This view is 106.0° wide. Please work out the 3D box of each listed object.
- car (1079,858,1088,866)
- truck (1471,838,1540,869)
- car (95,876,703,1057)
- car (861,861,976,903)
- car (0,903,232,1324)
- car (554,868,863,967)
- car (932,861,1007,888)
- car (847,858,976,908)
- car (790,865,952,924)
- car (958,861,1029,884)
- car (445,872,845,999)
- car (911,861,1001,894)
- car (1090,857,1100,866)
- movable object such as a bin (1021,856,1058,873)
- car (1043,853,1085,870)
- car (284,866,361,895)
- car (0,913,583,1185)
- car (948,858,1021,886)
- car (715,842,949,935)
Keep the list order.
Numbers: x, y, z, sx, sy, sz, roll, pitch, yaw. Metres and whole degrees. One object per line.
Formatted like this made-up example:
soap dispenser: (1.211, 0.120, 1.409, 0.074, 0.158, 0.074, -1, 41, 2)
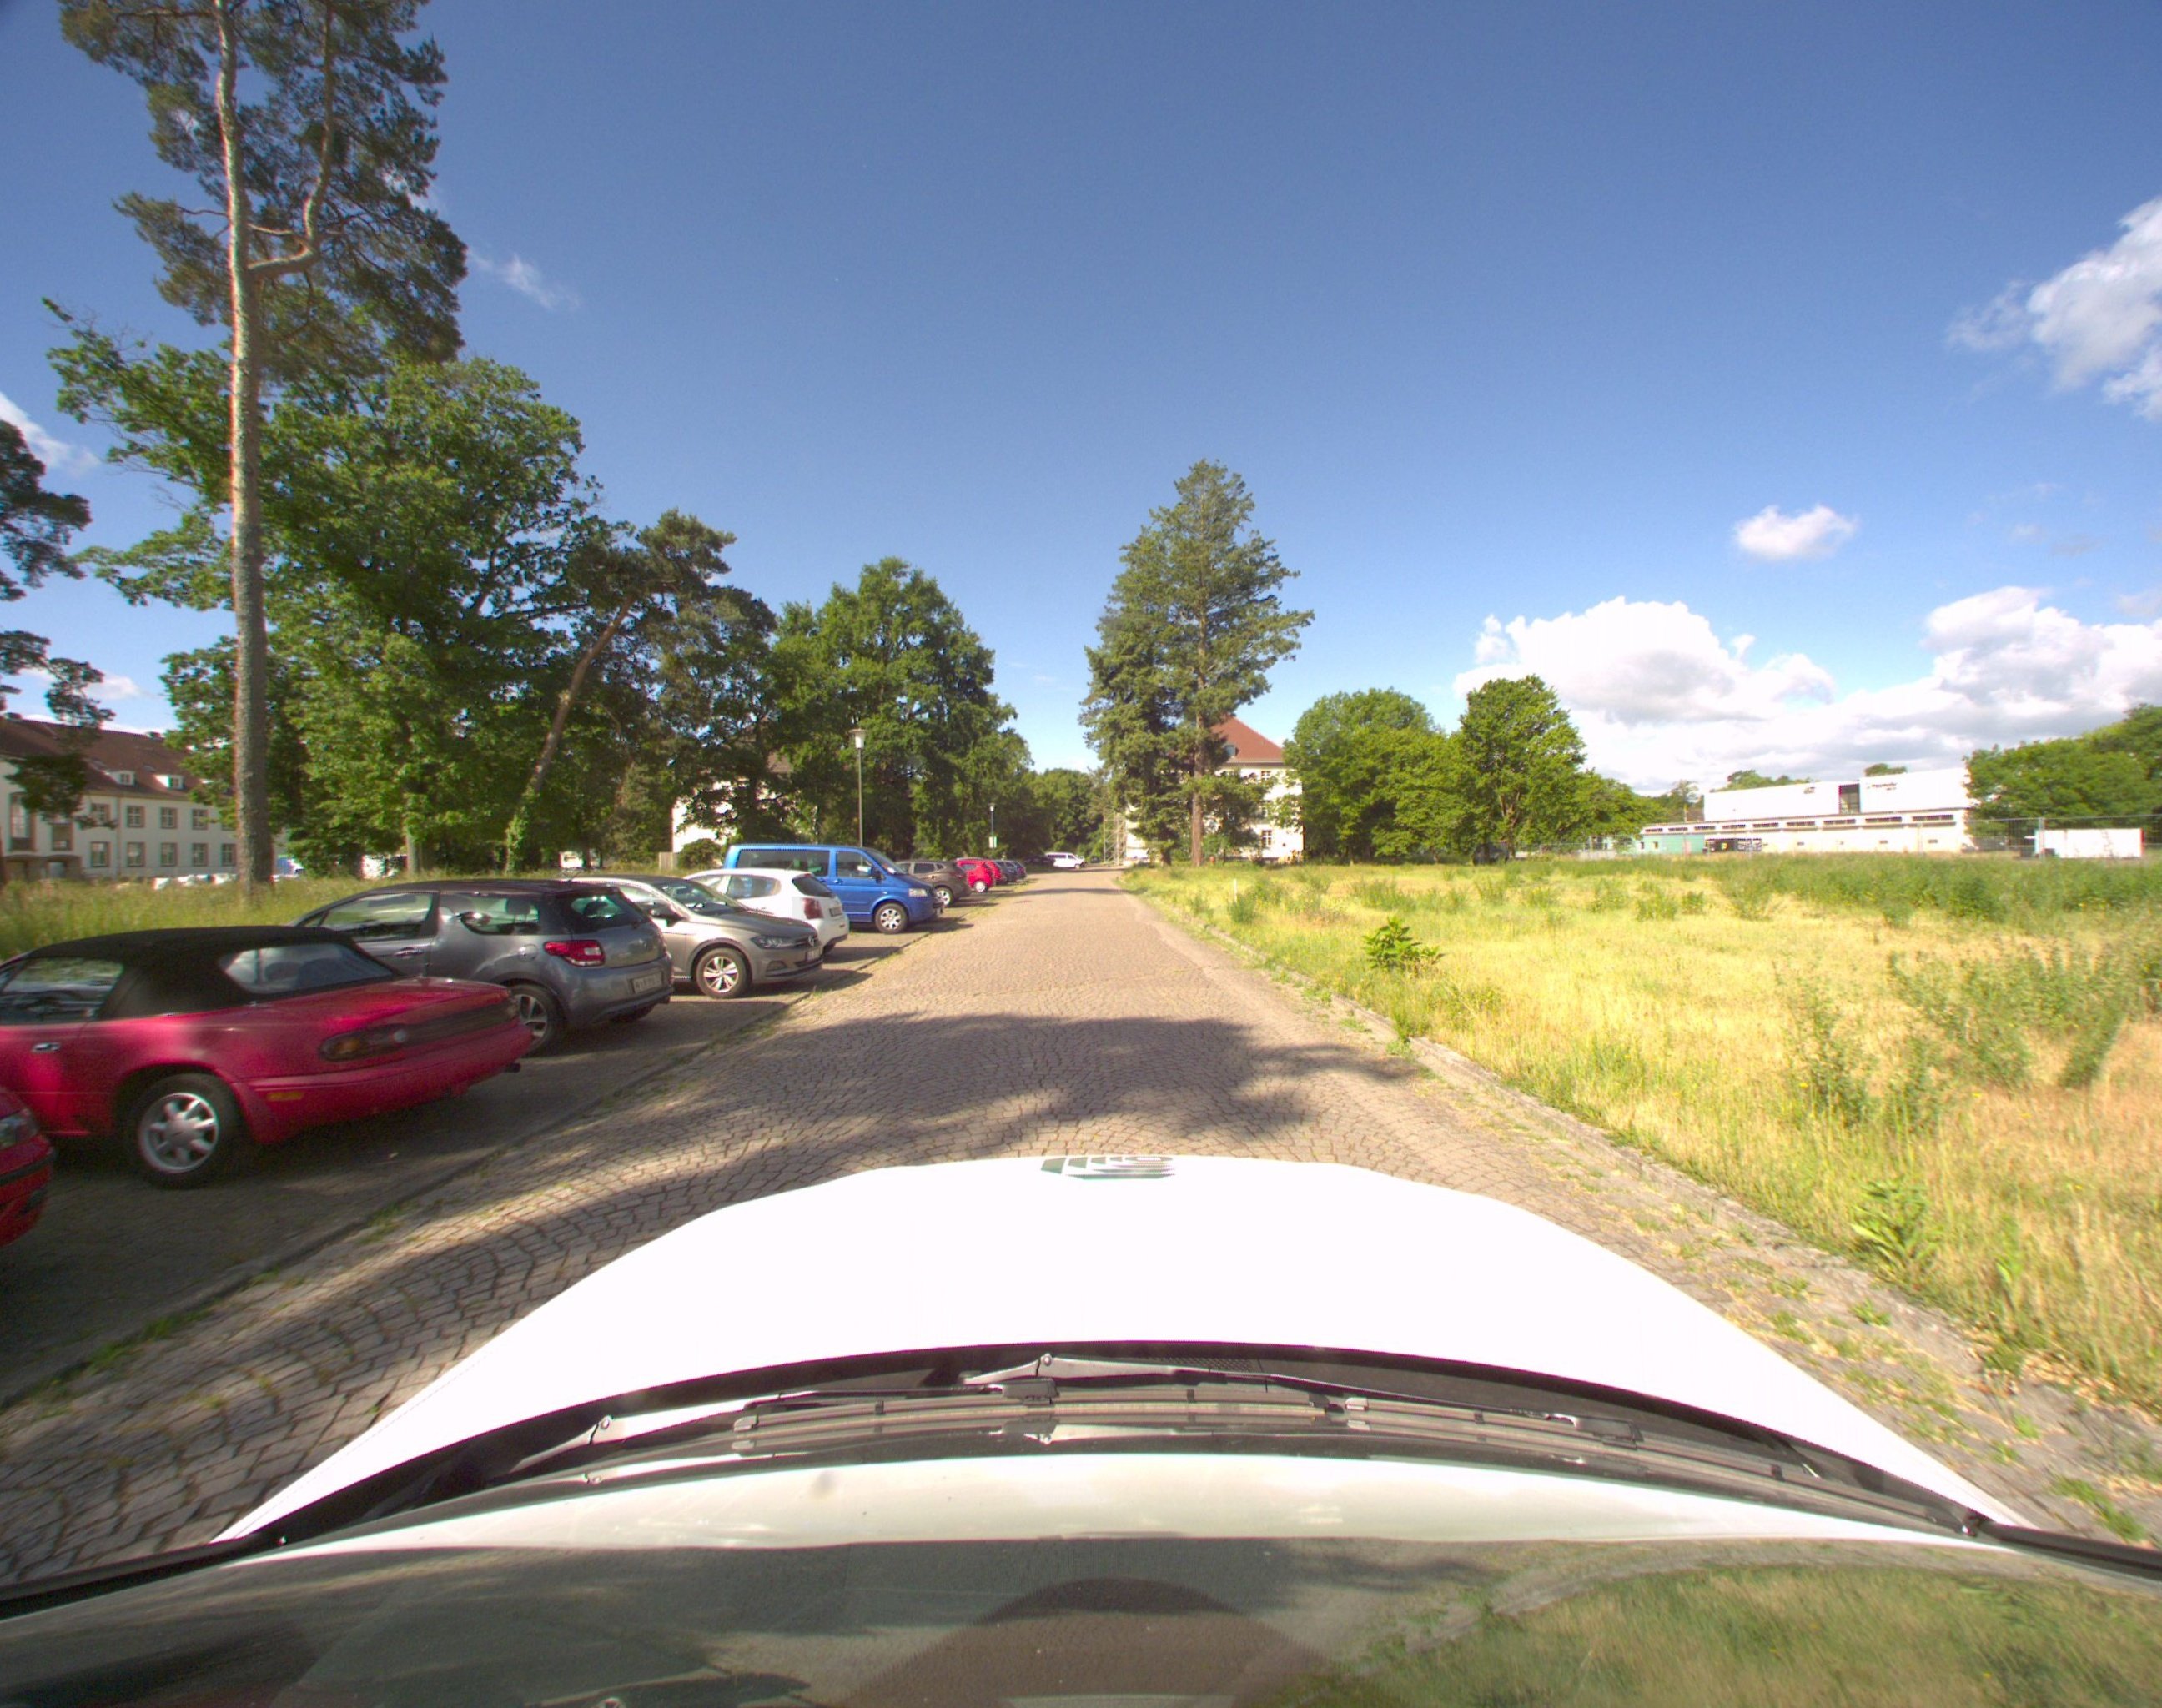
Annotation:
car: (0.492, 1.627, 167.834, 1.807, 1.579, 4.133, -2, 0, -1)
truck: (36.066, -0.011, 69.497, 2.226, 2.424, 6.882, 0, 0, -1)
car: (-5.998, 0.943, 7.576, 4.063, 1.452, 1.821, 0, -1, 0)
car: (-5.960, 1.013, 30.303, 3.913, 1.449, 1.865, 0, 0, -2)
car: (-6.186, 0.916, 2.593, 4.849, 1.421, 1.938, 0, -1, -1)
car: (-5.916, 0.984, 13.344, 4.183, 1.475, 1.823, 0, 0, -1)
car: (-6.231, 1.126, 45.777, 3.910, 1.433, 1.842, 0, 0, 0)
car: (-5.658, 0.960, 27.578, 3.943, 1.567, 1.972, 0, 0, -2)
car: (-5.386, 1.040, 21.249, 3.807, 1.440, 1.681, 1, -1, -4)
car: (-5.624, 1.183, 52.865, 4.342, 1.445, 1.922, 0, 0, 2)
car: (-5.368, 0.970, 10.472, 4.063, 1.425, 1.923, 0, 0, 0)
car: (-5.768, 1.073, 37.903, 3.913, 1.461, 1.840, 0, 0, -2)
car: (2.887, 1.519, 168.174, 1.965, 1.668, 4.084, -2, 0, -1)
movable object such as a bin: (-4.492, 1.092, 88.663, 3.537, 1.744, 2.034, -2, -1, 18)
car: (-2.095, 0.944, 101.798, 5.219, 2.016, 1.949, -1, -1, -1)
car: (-69.012, 2.375, 74.207, 1.977, 2.436, 5.276, -2, 0, 0)
car: (-5.379, 1.029, 4.917, 3.618, 1.234, 1.760, 0, -1, 0)
car: (-5.659, 1.057, 48.183, 4.122, 1.579, 1.884, 0, 0, -1)
car: (-5.549, 0.759, 18.641, 4.703, 1.968, 2.005, 0, -1, -1)
